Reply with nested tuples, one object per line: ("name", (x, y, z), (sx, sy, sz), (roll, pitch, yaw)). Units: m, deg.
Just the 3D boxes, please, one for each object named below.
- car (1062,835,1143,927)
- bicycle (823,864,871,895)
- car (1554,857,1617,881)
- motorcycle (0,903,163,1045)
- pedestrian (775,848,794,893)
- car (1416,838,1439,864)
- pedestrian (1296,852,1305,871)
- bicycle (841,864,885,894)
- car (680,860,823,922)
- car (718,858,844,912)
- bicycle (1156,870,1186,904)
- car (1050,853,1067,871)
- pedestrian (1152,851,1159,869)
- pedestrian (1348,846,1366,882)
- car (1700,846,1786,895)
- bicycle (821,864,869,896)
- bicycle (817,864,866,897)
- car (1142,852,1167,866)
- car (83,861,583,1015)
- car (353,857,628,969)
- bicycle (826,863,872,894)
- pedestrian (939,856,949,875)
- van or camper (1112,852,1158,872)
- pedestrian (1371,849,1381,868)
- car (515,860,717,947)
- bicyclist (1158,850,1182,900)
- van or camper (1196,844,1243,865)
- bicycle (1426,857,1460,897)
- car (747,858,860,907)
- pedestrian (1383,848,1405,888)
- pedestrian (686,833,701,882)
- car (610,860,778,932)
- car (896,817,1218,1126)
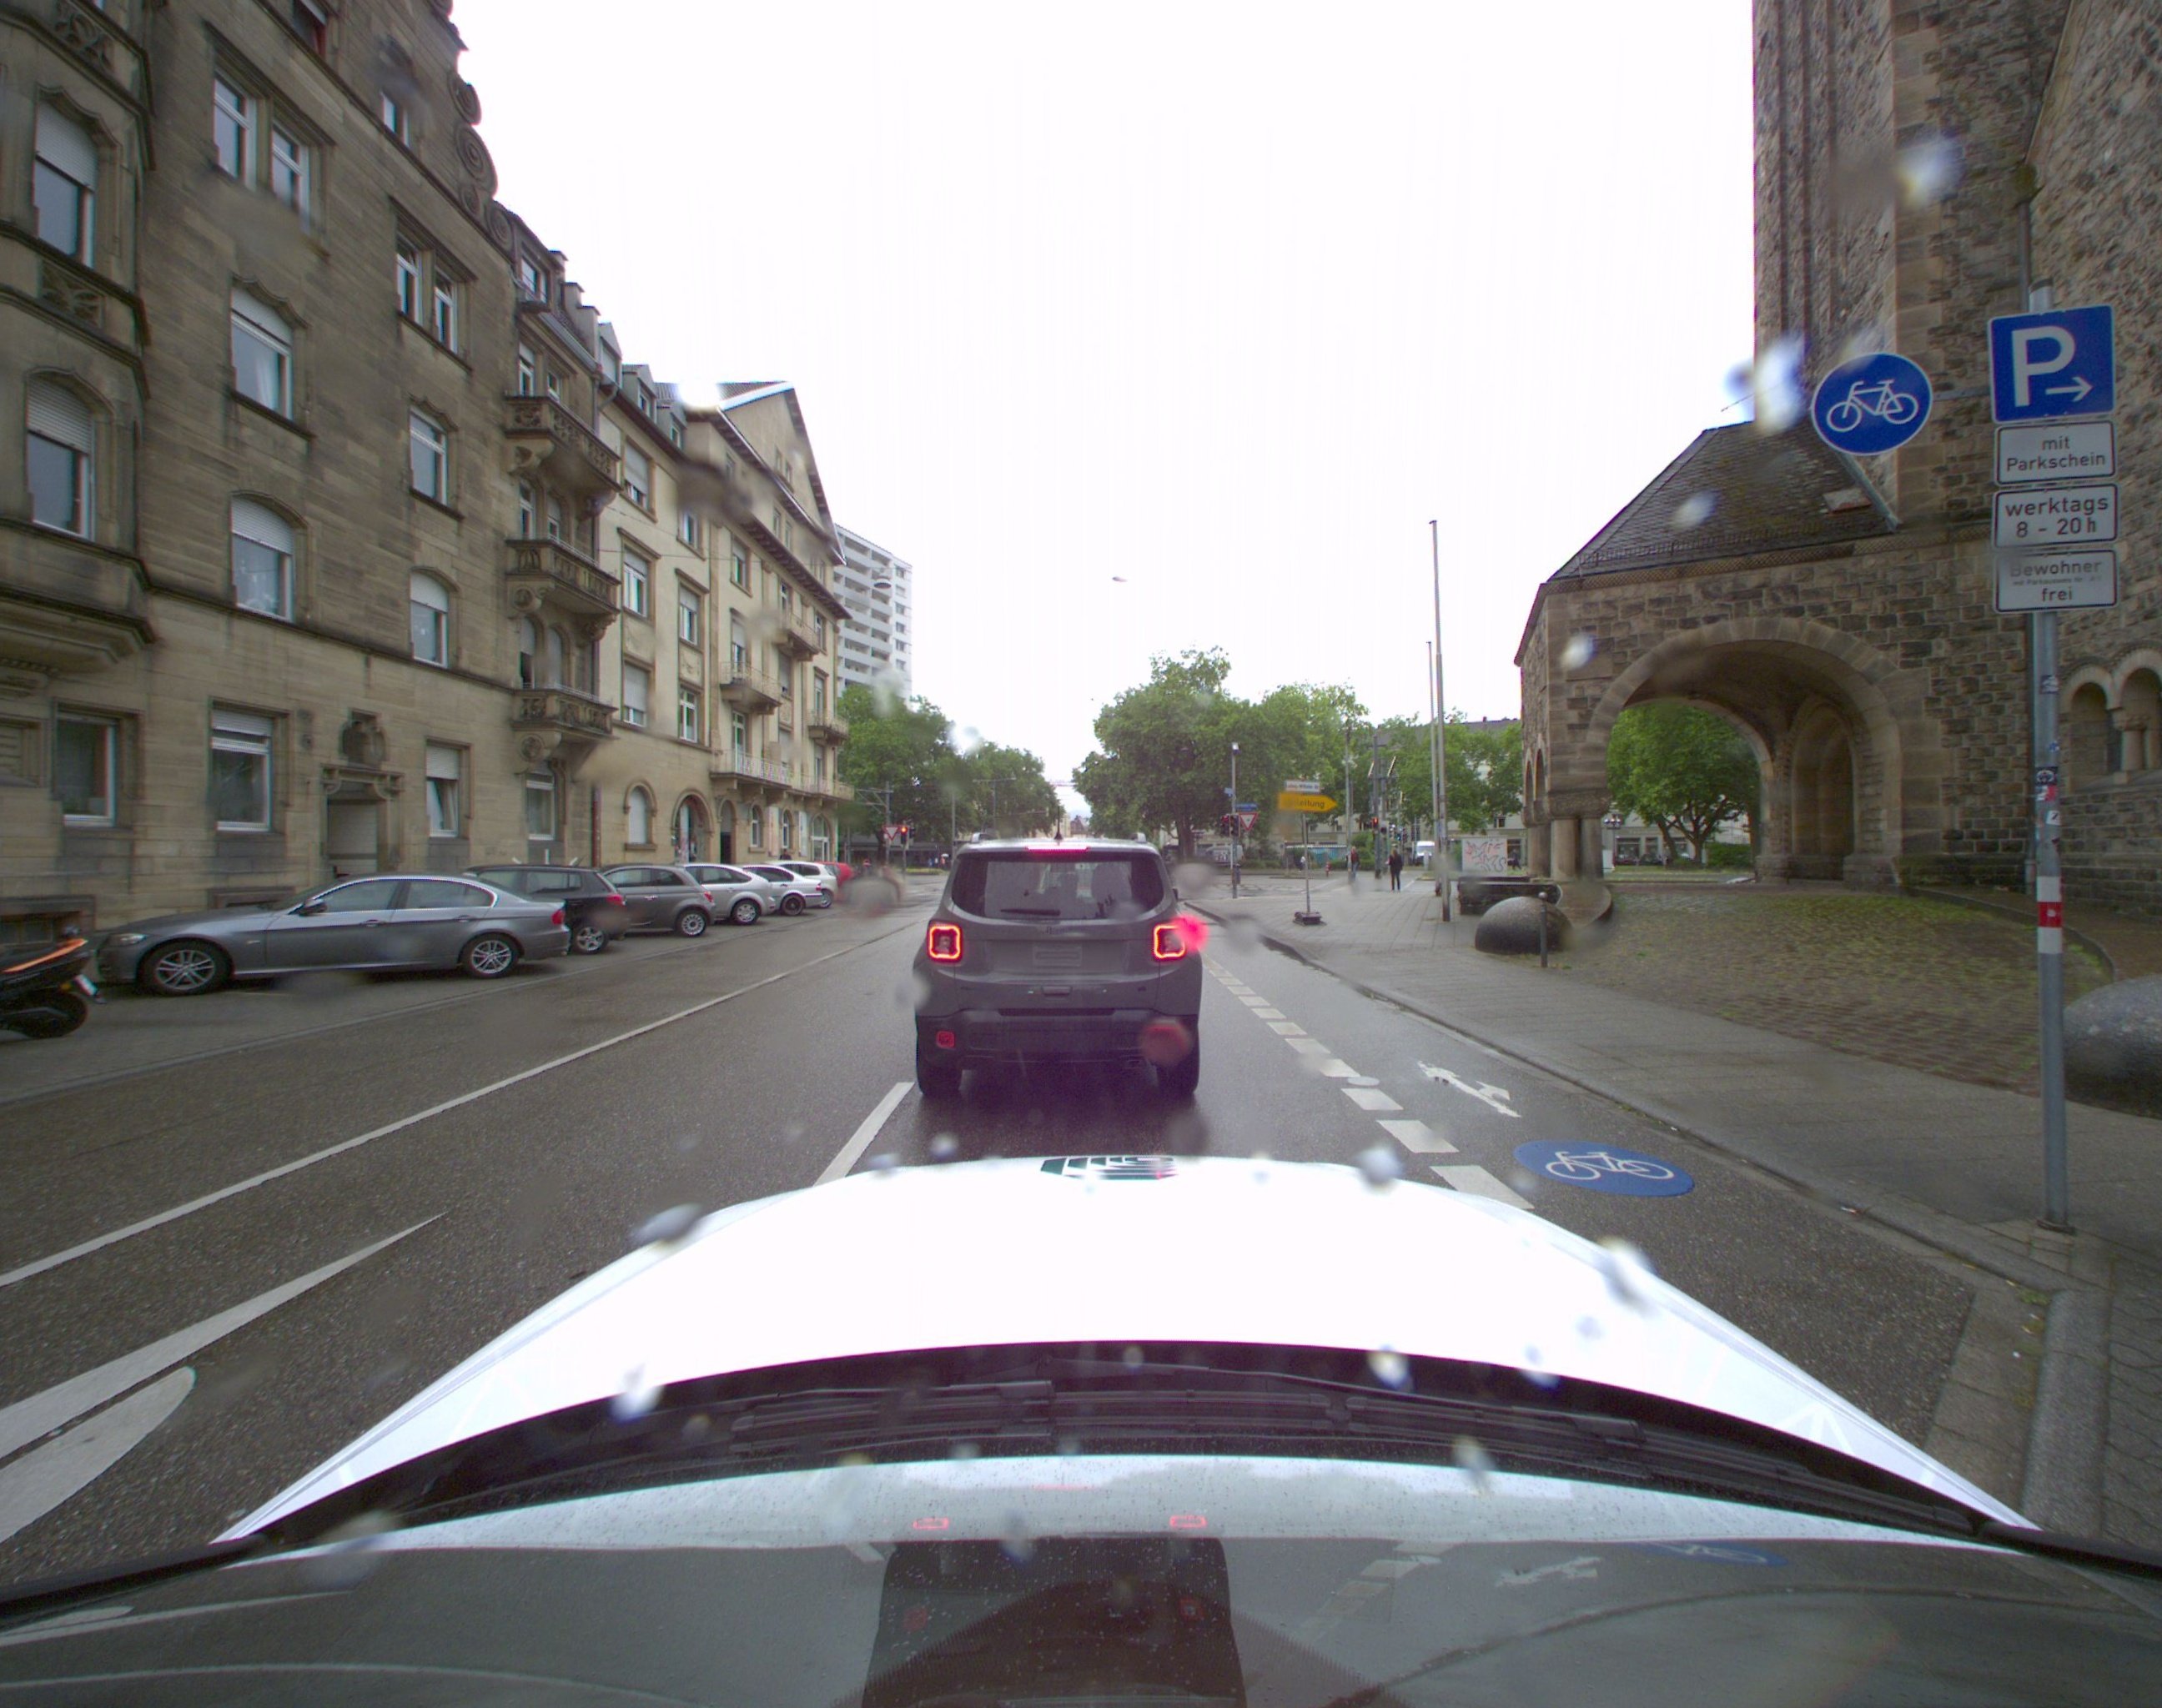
("car", (0.530, 0.603, 20.150), (1.764, 2.013, 4.001), (-1, 0, 1))
("bicycle", (-9.693, 1.058, 33.798), (1.804, 1.266, 0.498), (-1, -1, -1))
("car", (33.148, 0.994, 53.595), (3.404, 1.552, 1.602), (-1, 0, 27))
("motorcycle", (-9.404, 1.022, 6.994), (1.880, 1.162, 0.627), (2, -2, -36))
("pedestrian", (-13.312, 0.740, 36.593), (0.565, 2.014, 0.655), (-1, 0, 1))
("car", (35.540, -0.277, 83.414), (1.889, 2.555, 4.815), (-1, 0, 25))
("pedestrian", (18.161, 0.608, 67.261), (0.607, 1.603, 0.497), (-1, -1, 26))
("bicycle", (-9.553, 1.089, 35.704), (1.758, 1.266, 0.608), (-1, 0, -1))
("car", (-9.274, 0.985, 22.995), (3.419, 1.558, 1.686), (-1, 0, -38))
("car", (-9.499, 0.924, 25.859), (3.419, 1.558, 1.686), (-1, 0, -38))
("bicycle", (3.010, 1.093, 27.455), (0.689, 1.021, 2.658), (-2, 0, 1))
("car", (-2.371, 0.827, 84.829), (1.717, 1.739, 3.726), (-1, 0, -2))
("pedestrian", (8.498, 0.659, 93.033), (0.646, 2.014, 0.484), (-1, 0, 14))
("pedestrian", (13.640, 0.480, 40.283), (0.780, 1.759, 0.949), (-2, 0, 16))
("car", (21.413, 0.500, 26.444), (1.389, 1.479, 3.239), (-1, 0, 25))
("bicycle", (-9.583, 1.046, 33.112), (1.804, 1.266, 0.498), (-1, -1, -1))
("bicycle", (-9.580, 1.053, 32.565), (1.758, 1.266, 0.522), (-1, -1, -1))
("car", (10.789, 0.757, 119.677), (3.411, 2.014, 1.554), (-2, -1, 15))
("car", (-9.405, 0.915, 10.770), (4.573, 1.545, 1.668), (-1, 0, -42))
("car", (-9.773, 0.882, 13.700), (3.571, 1.598, 1.587), (-1, 0, -38))
("bicycle", (-9.898, 1.048, 34.833), (1.758, 1.266, 0.608), (-1, 0, -1))
("pedestrian", (-13.812, 1.160, 81.970), (0.685, 1.826, 0.624), (-2, -1, 26))
("van or camper", (8.256, 1.289, 124.985), (6.466, 2.912, 2.509), (-1, 0, 26))
("pedestrian", (23.911, 0.353, 66.021), (0.667, 1.554, 0.766), (-1, -2, 29))
("car", (-9.530, 0.935, 16.784), (3.419, 1.558, 1.634), (-1, 0, -38))
("bicyclist", (2.998, 0.693, 27.458), (0.684, 1.617, 0.884), (-2, 0, 0))
("van or camper", (16.092, 0.044, 94.844), (5.234, 2.315, 2.093), (0, 0, 5))
("bicycle", (11.027, 0.681, 24.872), (0.327, 1.154, 2.079), (-1, 0, 7))
("car", (-9.755, 0.960, 28.735), (3.419, 1.558, 1.686), (-1, 0, -38))
("pedestrian", (13.129, 0.592, 34.140), (0.775, 1.645, 0.659), (-2, -1, 25))
("pedestrian", (-14.360, 0.126, 30.201), (0.365, 1.823, 0.347), (-2, -1, -1))
("car", (-9.381, 0.956, 19.811), (3.419, 1.558, 1.686), (-1, 0, -38))
("car", (-0.111, 0.665, 6.517), (1.769, 1.687, 3.848), (-2, 0, 1))
